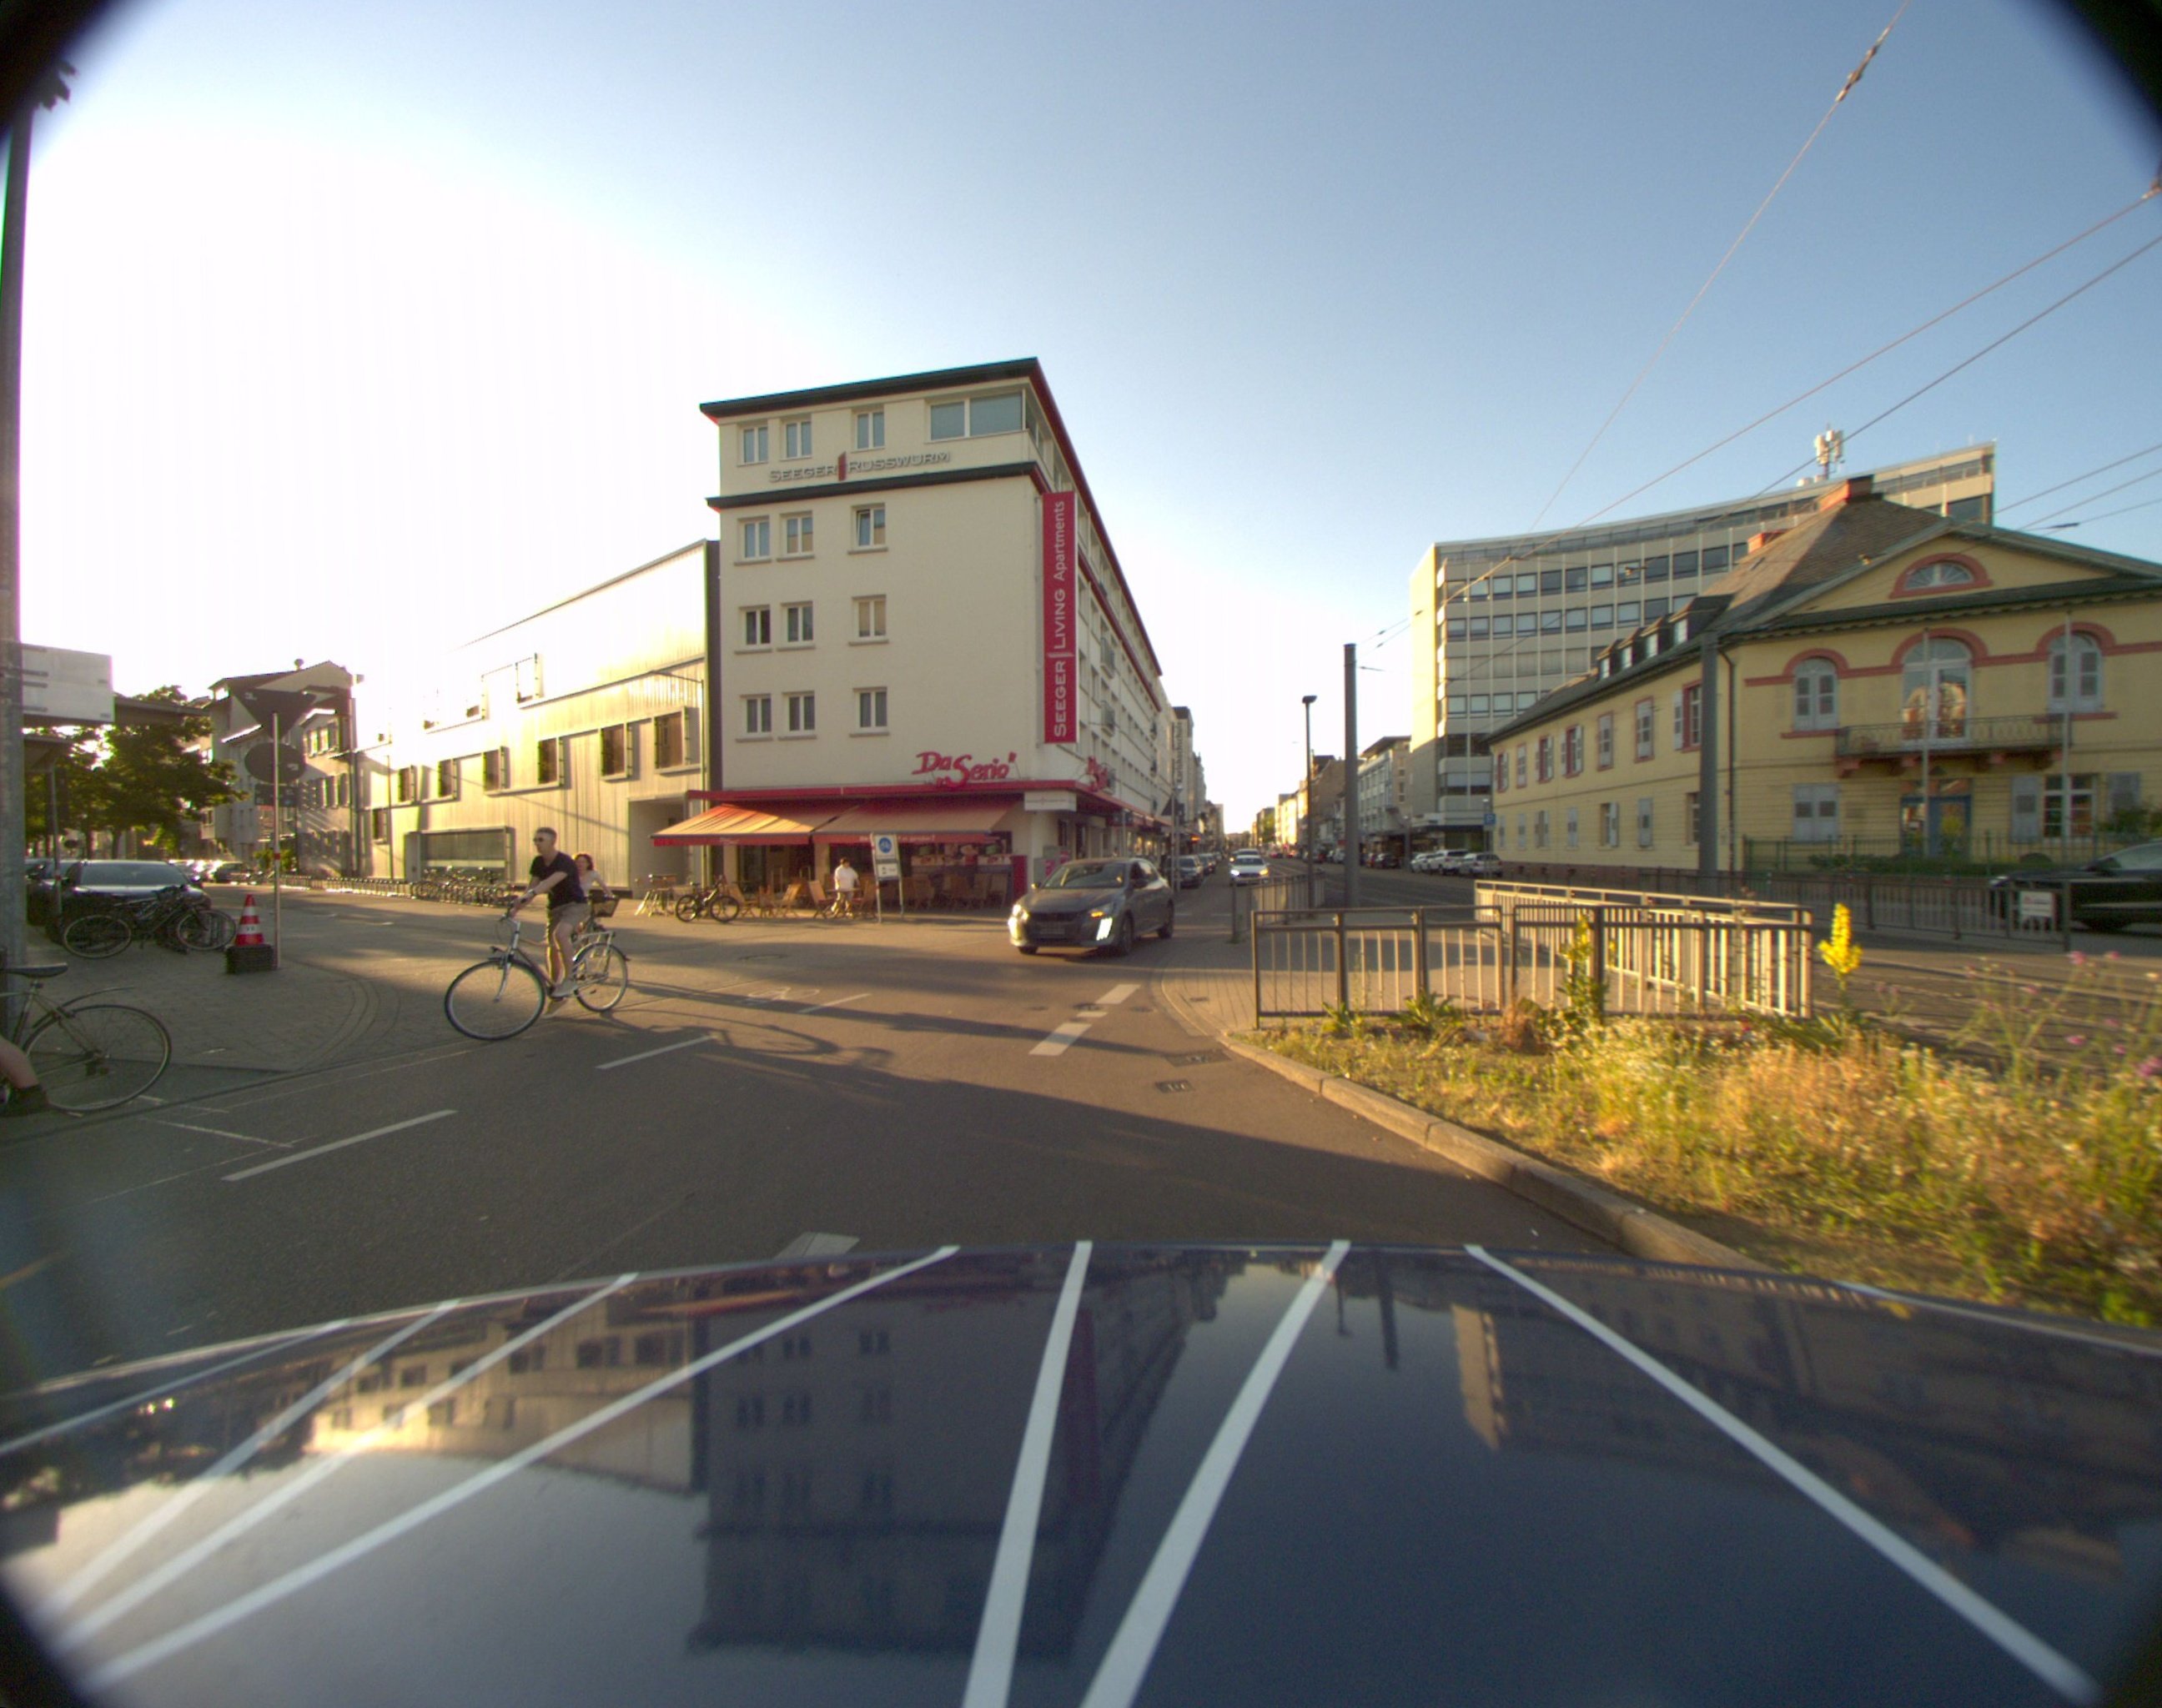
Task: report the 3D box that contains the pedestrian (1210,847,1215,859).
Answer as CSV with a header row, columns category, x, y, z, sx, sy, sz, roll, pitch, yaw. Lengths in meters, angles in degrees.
category,x,y,z,sx,sy,sz,roll,pitch,yaw
pedestrian,18.708,-0.146,107.994,0.609,1.743,0.605,0,1,11

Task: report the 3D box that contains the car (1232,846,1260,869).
category,x,y,z,sx,sy,sz,roll,pitch,yaw
car,12.872,0.248,59.626,1.997,1.805,4.003,0,1,10

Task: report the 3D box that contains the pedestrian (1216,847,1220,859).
category,x,y,z,sx,sy,sz,roll,pitch,yaw
pedestrian,19.434,-0.111,107.835,0.605,1.717,0.647,0,1,11

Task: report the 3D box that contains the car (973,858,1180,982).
category,x,y,z,sx,sy,sz,roll,pitch,yaw
car,0.158,0.861,11.959,1.729,1.513,4.340,-1,0,22

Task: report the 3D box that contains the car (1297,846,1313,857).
category,x,y,z,sx,sy,sz,roll,pitch,yaw
car,32.482,-0.342,110.273,1.809,1.503,4.038,2,1,13

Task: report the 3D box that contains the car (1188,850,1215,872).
category,x,y,z,sx,sy,sz,roll,pitch,yaw
car,8.760,0.482,54.993,1.738,1.503,4.307,1,1,12

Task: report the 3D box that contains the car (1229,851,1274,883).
category,x,y,z,sx,sy,sz,roll,pitch,yaw
car,8.156,0.567,36.640,1.997,1.450,4.003,0,1,10

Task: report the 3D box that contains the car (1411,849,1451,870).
category,x,y,z,sx,sy,sz,roll,pitch,yaw
car,25.621,0.374,55.727,1.815,1.503,4.436,0,0,13

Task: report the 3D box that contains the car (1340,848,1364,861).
category,x,y,z,sx,sy,sz,roll,pitch,yaw
car,32.331,0.076,90.650,1.997,1.457,4.562,-1,0,10

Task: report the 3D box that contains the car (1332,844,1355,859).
category,x,y,z,sx,sy,sz,roll,pitch,yaw
car,33.806,-0.325,97.952,1.958,1.965,5.167,0,0,10

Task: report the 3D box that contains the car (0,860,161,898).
category,x,y,z,sx,sy,sz,roll,pitch,yaw
car,-42.583,1.016,32.335,1.999,1.423,3.999,0,0,-2

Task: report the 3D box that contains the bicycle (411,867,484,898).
category,x,y,z,sx,sy,sz,roll,pitch,yaw
bicycle,-25.266,1.120,30.353,0.702,1.213,2.118,0,-1,34

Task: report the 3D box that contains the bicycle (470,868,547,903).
category,x,y,z,sx,sy,sz,roll,pitch,yaw
bicycle,-20.643,1.109,27.451,0.702,1.213,2.118,0,-1,34

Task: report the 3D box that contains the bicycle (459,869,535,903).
category,x,y,z,sx,sy,sz,roll,pitch,yaw
bicycle,-21.603,1.158,28.135,0.702,1.213,2.118,0,-1,34

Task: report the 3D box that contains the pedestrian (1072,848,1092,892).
category,x,y,z,sx,sy,sz,roll,pitch,yaw
pedestrian,0.041,0.634,30.241,0.605,1.750,0.525,-1,1,-33

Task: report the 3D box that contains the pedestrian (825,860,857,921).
category,x,y,z,sx,sy,sz,roll,pitch,yaw
pedestrian,-6.271,0.944,19.873,0.571,1.533,0.574,0,1,13

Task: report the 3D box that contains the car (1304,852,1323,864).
category,x,y,z,sx,sy,sz,roll,pitch,yaw
car,30.139,0.486,98.659,1.738,1.503,4.037,0,0,7

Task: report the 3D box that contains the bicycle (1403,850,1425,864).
category,x,y,z,sx,sy,sz,roll,pitch,yaw
bicycle,33.948,0.302,77.462,1.971,1.417,0.835,0,1,10

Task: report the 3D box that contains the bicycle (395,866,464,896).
category,x,y,z,sx,sy,sz,roll,pitch,yaw
bicycle,-27.642,1.130,32.266,0.702,1.213,2.117,0,-1,27

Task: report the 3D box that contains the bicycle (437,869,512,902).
category,x,y,z,sx,sy,sz,roll,pitch,yaw
bicycle,-23.276,1.183,29.200,0.702,1.213,2.118,0,-1,34

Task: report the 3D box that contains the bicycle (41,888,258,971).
category,x,y,z,sx,sy,sz,roll,pitch,yaw
bicycle,-14.945,1.170,12.271,0.702,1.212,2.118,0,-3,34

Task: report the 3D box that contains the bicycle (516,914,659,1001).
category,x,y,z,sx,sy,sz,roll,pitch,yaw
bicycle,-6.392,1.285,9.808,2.007,0.876,0.842,0,1,35

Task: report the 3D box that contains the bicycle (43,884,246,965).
category,x,y,z,sx,sy,sz,roll,pitch,yaw
bicycle,-15.842,1.146,12.932,0.702,1.213,2.118,0,-1,34

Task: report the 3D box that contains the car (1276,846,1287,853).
category,x,y,z,sx,sy,sz,roll,pitch,yaw
car,45.090,-1.050,170.880,1.997,1.543,4.003,0,0,12

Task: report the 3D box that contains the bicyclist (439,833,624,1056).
category,x,y,z,sx,sy,sz,roll,pitch,yaw
bicyclist,-5.058,0.776,7.087,0.839,1.906,1.115,0,1,6

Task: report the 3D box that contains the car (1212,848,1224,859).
category,x,y,z,sx,sy,sz,roll,pitch,yaw
car,20.852,-0.088,115.277,1.680,1.534,3.889,1,1,12

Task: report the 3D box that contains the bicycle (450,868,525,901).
category,x,y,z,sx,sy,sz,roll,pitch,yaw
bicycle,-22.455,1.124,28.781,0.702,1.213,2.118,0,-1,34

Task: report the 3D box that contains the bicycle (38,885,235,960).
category,x,y,z,sx,sy,sz,roll,pitch,yaw
bicycle,-16.863,1.183,13.639,0.702,1.212,2.118,0,-2,34

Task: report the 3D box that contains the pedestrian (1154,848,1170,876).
category,x,y,z,sx,sy,sz,roll,pitch,yaw
pedestrian,4.953,0.474,46.272,0.828,1.708,0.843,1,1,12

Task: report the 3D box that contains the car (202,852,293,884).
category,x,y,z,sx,sy,sz,roll,pitch,yaw
car,-57.321,0.926,52.309,1.994,2.002,4.008,-2,1,37

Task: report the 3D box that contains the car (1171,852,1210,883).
category,x,y,z,sx,sy,sz,roll,pitch,yaw
car,5.954,0.678,41.038,1.788,1.503,4.055,1,1,12

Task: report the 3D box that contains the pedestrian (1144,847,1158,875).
category,x,y,z,sx,sy,sz,roll,pitch,yaw
pedestrian,4.391,0.449,47.449,0.729,1.731,0.864,1,1,12

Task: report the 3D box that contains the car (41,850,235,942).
category,x,y,z,sx,sy,sz,roll,pitch,yaw
car,-20.095,0.801,16.184,3.989,1.740,1.897,0,1,29

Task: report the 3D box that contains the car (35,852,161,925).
category,x,y,z,sx,sy,sz,roll,pitch,yaw
car,-26.175,0.835,20.221,4.420,1.739,1.898,0,-1,36

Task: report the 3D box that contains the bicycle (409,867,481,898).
category,x,y,z,sx,sy,sz,roll,pitch,yaw
bicycle,-25.823,1.152,30.885,0.702,1.213,2.118,0,-1,34

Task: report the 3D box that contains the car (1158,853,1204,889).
category,x,y,z,sx,sy,sz,roll,pitch,yaw
car,4.630,0.716,34.722,1.738,1.503,4.689,1,1,12

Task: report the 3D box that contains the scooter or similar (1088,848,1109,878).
category,x,y,z,sx,sy,sz,roll,pitch,yaw
scooter or similar,0.721,0.364,31.556,0.357,1.195,1.246,-1,1,-26

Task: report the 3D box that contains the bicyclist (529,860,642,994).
category,x,y,z,sx,sy,sz,roll,pitch,yaw
bicyclist,-6.415,0.886,9.839,1.112,1.613,0.842,0,1,35

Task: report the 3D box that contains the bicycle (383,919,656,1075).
category,x,y,z,sx,sy,sz,roll,pitch,yaw
bicycle,-5.052,1.226,7.084,0.839,1.014,2.078,0,1,6

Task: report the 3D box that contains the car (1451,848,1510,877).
category,x,y,z,sx,sy,sz,roll,pitch,yaw
car,23.429,0.454,44.692,1.815,1.608,4.217,0,0,9

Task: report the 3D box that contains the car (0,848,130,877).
category,x,y,z,sx,sy,sz,roll,pitch,yaw
car,-57.797,0.442,43.308,1.997,1.597,4.002,0,0,8

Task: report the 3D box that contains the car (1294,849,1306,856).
category,x,y,z,sx,sy,sz,roll,pitch,yaw
car,44.006,-0.306,152.461,1.997,1.543,4.003,0,0,11

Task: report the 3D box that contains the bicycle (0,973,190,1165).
category,x,y,z,sx,sy,sz,roll,pitch,yaw
bicycle,-6.459,1.309,4.371,0.465,0.965,1.801,0,0,3

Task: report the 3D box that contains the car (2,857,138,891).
category,x,y,z,sx,sy,sz,roll,pitch,yaw
car,-55.619,1.068,41.920,1.997,1.700,4.002,0,0,8

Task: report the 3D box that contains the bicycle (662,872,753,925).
category,x,y,z,sx,sy,sz,roll,pitch,yaw
bicycle,-9.480,1.112,19.287,2.109,1.280,0.705,0,1,14

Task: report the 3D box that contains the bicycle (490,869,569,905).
category,x,y,z,sx,sy,sz,roll,pitch,yaw
bicycle,-19.212,1.130,26.535,0.702,1.213,2.118,0,-1,34

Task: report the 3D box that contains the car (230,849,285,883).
category,x,y,z,sx,sy,sz,roll,pitch,yaw
car,-51.860,0.758,47.830,4.246,2.002,2.004,-2,1,39

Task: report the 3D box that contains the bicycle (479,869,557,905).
category,x,y,z,sx,sy,sz,roll,pitch,yaw
bicycle,-19.964,1.140,26.995,0.702,1.213,2.118,0,-1,34

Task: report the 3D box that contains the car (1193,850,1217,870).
category,x,y,z,sx,sy,sz,roll,pitch,yaw
car,9.994,0.446,60.909,1.793,1.503,4.715,1,1,10

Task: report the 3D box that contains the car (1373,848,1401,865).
category,x,y,z,sx,sy,sz,roll,pitch,yaw
car,27.992,0.230,69.546,1.688,1.503,4.218,-1,0,12

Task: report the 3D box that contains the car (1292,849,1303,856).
category,x,y,z,sx,sy,sz,roll,pitch,yaw
car,46.645,-0.291,164.029,1.997,1.543,4.210,0,0,11

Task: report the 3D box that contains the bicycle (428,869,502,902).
category,x,y,z,sx,sy,sz,roll,pitch,yaw
bicycle,-24.071,1.218,29.743,0.702,1.213,2.118,0,-1,34

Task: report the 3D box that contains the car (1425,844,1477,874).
category,x,y,z,sx,sy,sz,roll,pitch,yaw
car,24.161,0.301,49.796,1.816,1.775,4.500,-3,0,9

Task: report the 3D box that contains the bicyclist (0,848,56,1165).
category,x,y,z,sx,sy,sz,roll,pitch,yaw
bicyclist,-6.460,0.880,4.317,0.465,1.820,0.559,0,1,3

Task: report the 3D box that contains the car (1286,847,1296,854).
category,x,y,z,sx,sy,sz,roll,pitch,yaw
car,51.027,-0.892,184.904,1.997,1.543,4.003,0,1,11

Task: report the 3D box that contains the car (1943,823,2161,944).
category,x,y,z,sx,sy,sz,roll,pitch,yaw
car,17.833,0.460,12.269,2.001,1.890,4.806,0,0,-12

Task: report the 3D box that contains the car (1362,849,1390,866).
category,x,y,z,sx,sy,sz,roll,pitch,yaw
car,28.997,0.298,74.750,1.688,1.503,4.218,6,2,12
